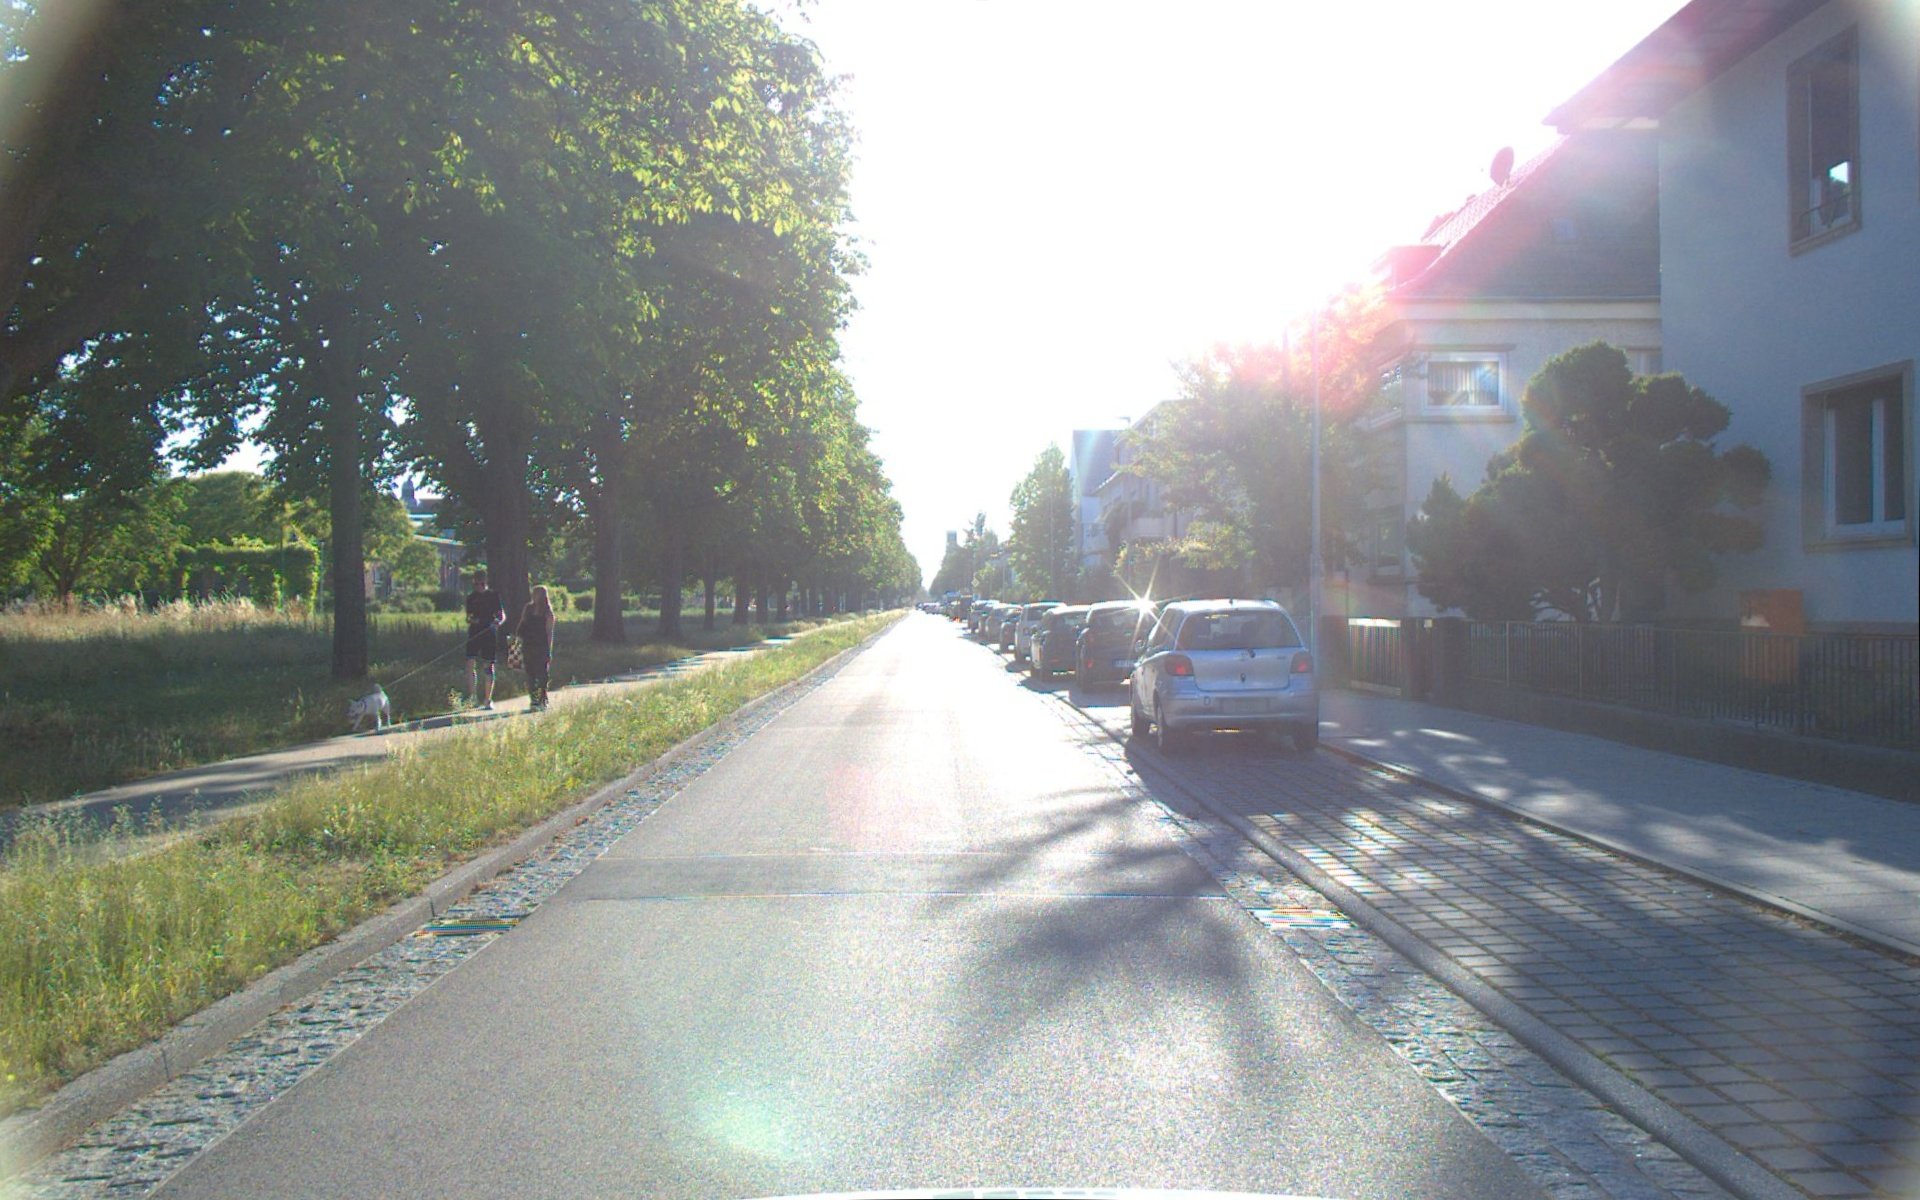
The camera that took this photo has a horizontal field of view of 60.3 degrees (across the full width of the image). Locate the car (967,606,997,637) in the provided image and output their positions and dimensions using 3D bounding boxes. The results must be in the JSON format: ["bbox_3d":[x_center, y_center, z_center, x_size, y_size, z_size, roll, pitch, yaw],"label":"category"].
[{"bbox_3d":[1.142,1.097,85.806,1.467,1.594,3.266,-1,0,0],"label":"car"}]

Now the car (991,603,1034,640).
[{"bbox_3d":[2.100,0.859,67.194,1.618,1.421,3.266,-1,0,0],"label":"car"}]

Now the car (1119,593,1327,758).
[{"bbox_3d":[2.740,0.723,17.918,1.594,1.531,3.632,-2,0,0],"label":"car"}]

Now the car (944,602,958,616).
[{"bbox_3d":[-1.082,1.031,191.919,1.618,1.568,3.266,1,0,0],"label":"car"}]

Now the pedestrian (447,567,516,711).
[{"bbox_3d":[-6.302,0.504,21.830,0.611,1.863,0.886,0,0,2],"label":"pedestrian"}]

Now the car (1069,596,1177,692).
[{"bbox_3d":[2.789,0.735,28.943,1.623,1.520,3.717,-2,-1,2],"label":"car"}]

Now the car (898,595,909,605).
[{"bbox_3d":[-8.794,0.018,257.474,1.618,1.568,3.266,1,0,-1],"label":"car"}]

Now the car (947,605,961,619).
[{"bbox_3d":[-0.692,1.329,186.540,1.618,1.568,3.266,1,0,0],"label":"car"}]

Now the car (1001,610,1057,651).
[{"bbox_3d":[2.212,0.964,53.576,1.658,1.270,3.497,-1,0,0],"label":"car"}]

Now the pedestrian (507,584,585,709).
[{"bbox_3d":[-5.547,0.613,22.204,0.767,1.643,0.952,0,0,2],"label":"pedestrian"}]

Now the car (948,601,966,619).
[{"bbox_3d":[-0.272,0.917,147.692,1.618,1.568,3.266,1,0,0],"label":"car"}]

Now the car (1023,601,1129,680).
[{"bbox_3d":[2.342,0.820,34.327,1.702,1.474,4.195,-2,-1,-2],"label":"car"}]

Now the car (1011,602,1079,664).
[{"bbox_3d":[2.216,0.842,43.649,1.560,1.536,3.591,-1,0,-1],"label":"car"}]

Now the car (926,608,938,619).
[{"bbox_3d":[-3.876,1.868,227.611,1.618,1.568,3.266,1,0,-1],"label":"car"}]
